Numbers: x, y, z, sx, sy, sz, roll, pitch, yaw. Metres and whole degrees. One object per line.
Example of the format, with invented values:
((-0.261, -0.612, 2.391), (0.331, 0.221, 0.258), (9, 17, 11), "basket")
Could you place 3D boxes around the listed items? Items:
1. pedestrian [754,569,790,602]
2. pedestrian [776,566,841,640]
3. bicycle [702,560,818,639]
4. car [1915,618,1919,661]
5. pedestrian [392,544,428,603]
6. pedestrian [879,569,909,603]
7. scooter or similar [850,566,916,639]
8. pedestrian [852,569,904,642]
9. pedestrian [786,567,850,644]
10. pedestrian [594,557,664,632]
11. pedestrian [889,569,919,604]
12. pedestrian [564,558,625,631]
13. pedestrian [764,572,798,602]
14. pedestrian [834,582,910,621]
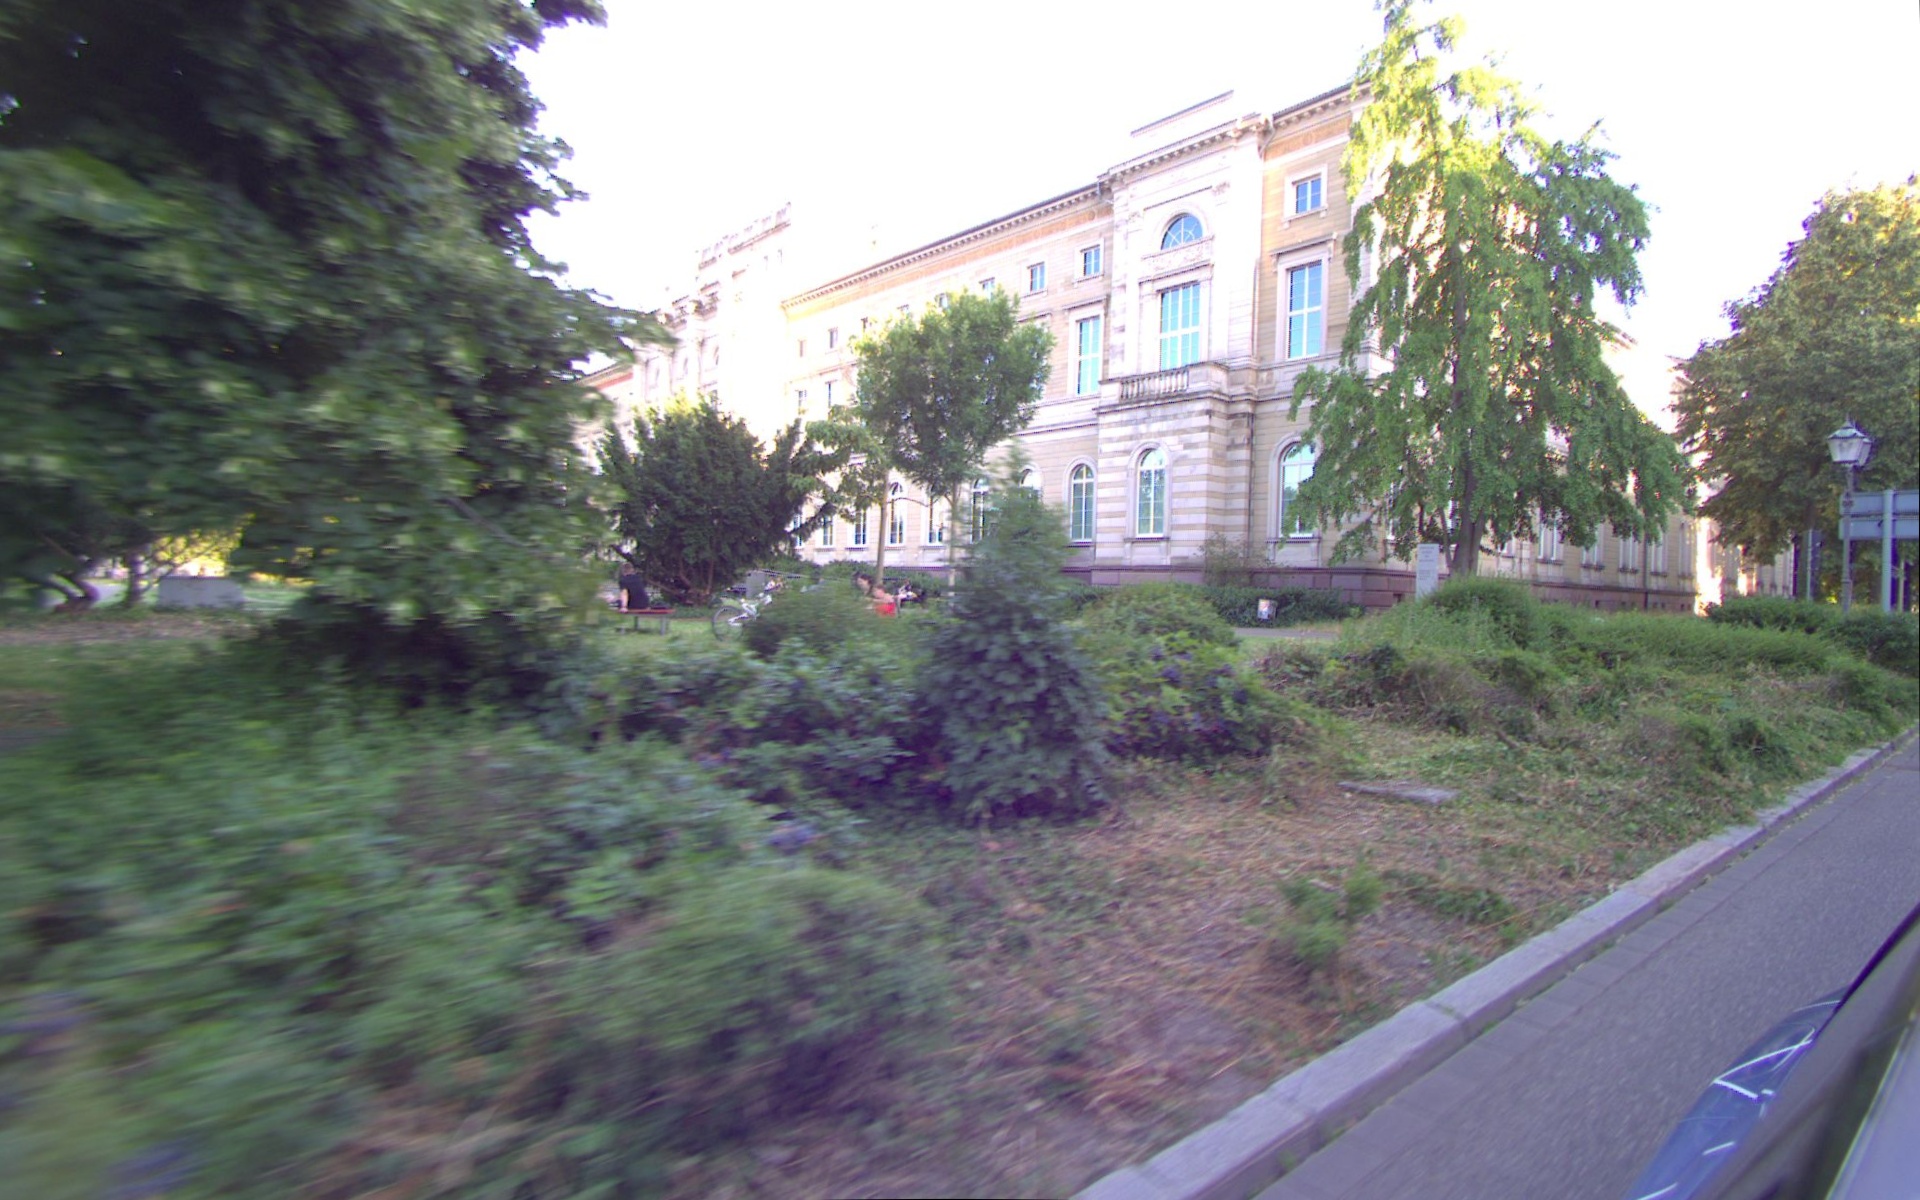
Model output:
((-9.433, -0.714, 50.720), (1.540, 1.575, 0.801), (1, 1, -40), "pedestrian")
((-2.577, 0.044, 17.184), (0.774, 1.206, 0.809), (1, 1, -37), "pedestrian")
((-3.512, -0.017, 17.919), (0.620, 1.316, 1.986), (2, 2, 45), "bicycle")
((26.230, 0.855, 26.212), (4.531, 1.506, 1.728), (0, 5, -42), "car")
((-16.625, -0.798, 30.594), (0.746, 1.769, 0.771), (1, 1, -44), "pedestrian")
((-2.795, -0.577, 42.958), (1.026, 1.414, 0.695), (1, 1, -40), "pedestrian")
((-1.399, 0.033, 18.334), (1.214, 1.261, 0.412), (2, 1, 38), "scooter or similar")
((-1.424, 0.087, 17.442), (0.778, 1.206, 0.666), (1, 1, -13), "pedestrian")
((-2.304, 0.080, 16.406), (0.733, 1.206, 0.724), (1, 1, -37), "pedestrian")
((-6.232, -0.116, 19.054), (0.914, 1.364, 0.874), (2, 1, 34), "pedestrian")
((-2.333, -0.573, 42.189), (1.026, 1.414, 0.695), (1, 1, -40), "pedestrian")
((-7.018, -0.113, 19.442), (0.756, 1.364, 0.778), (2, 1, 33), "pedestrian")
((-8.807, -0.629, 49.823), (1.427, 1.414, 0.695), (1, 1, -40), "pedestrian")
((-1.423, 0.012, 16.552), (0.537, 0.556, 1.363), (6, 4, 30), "pedestrian")
